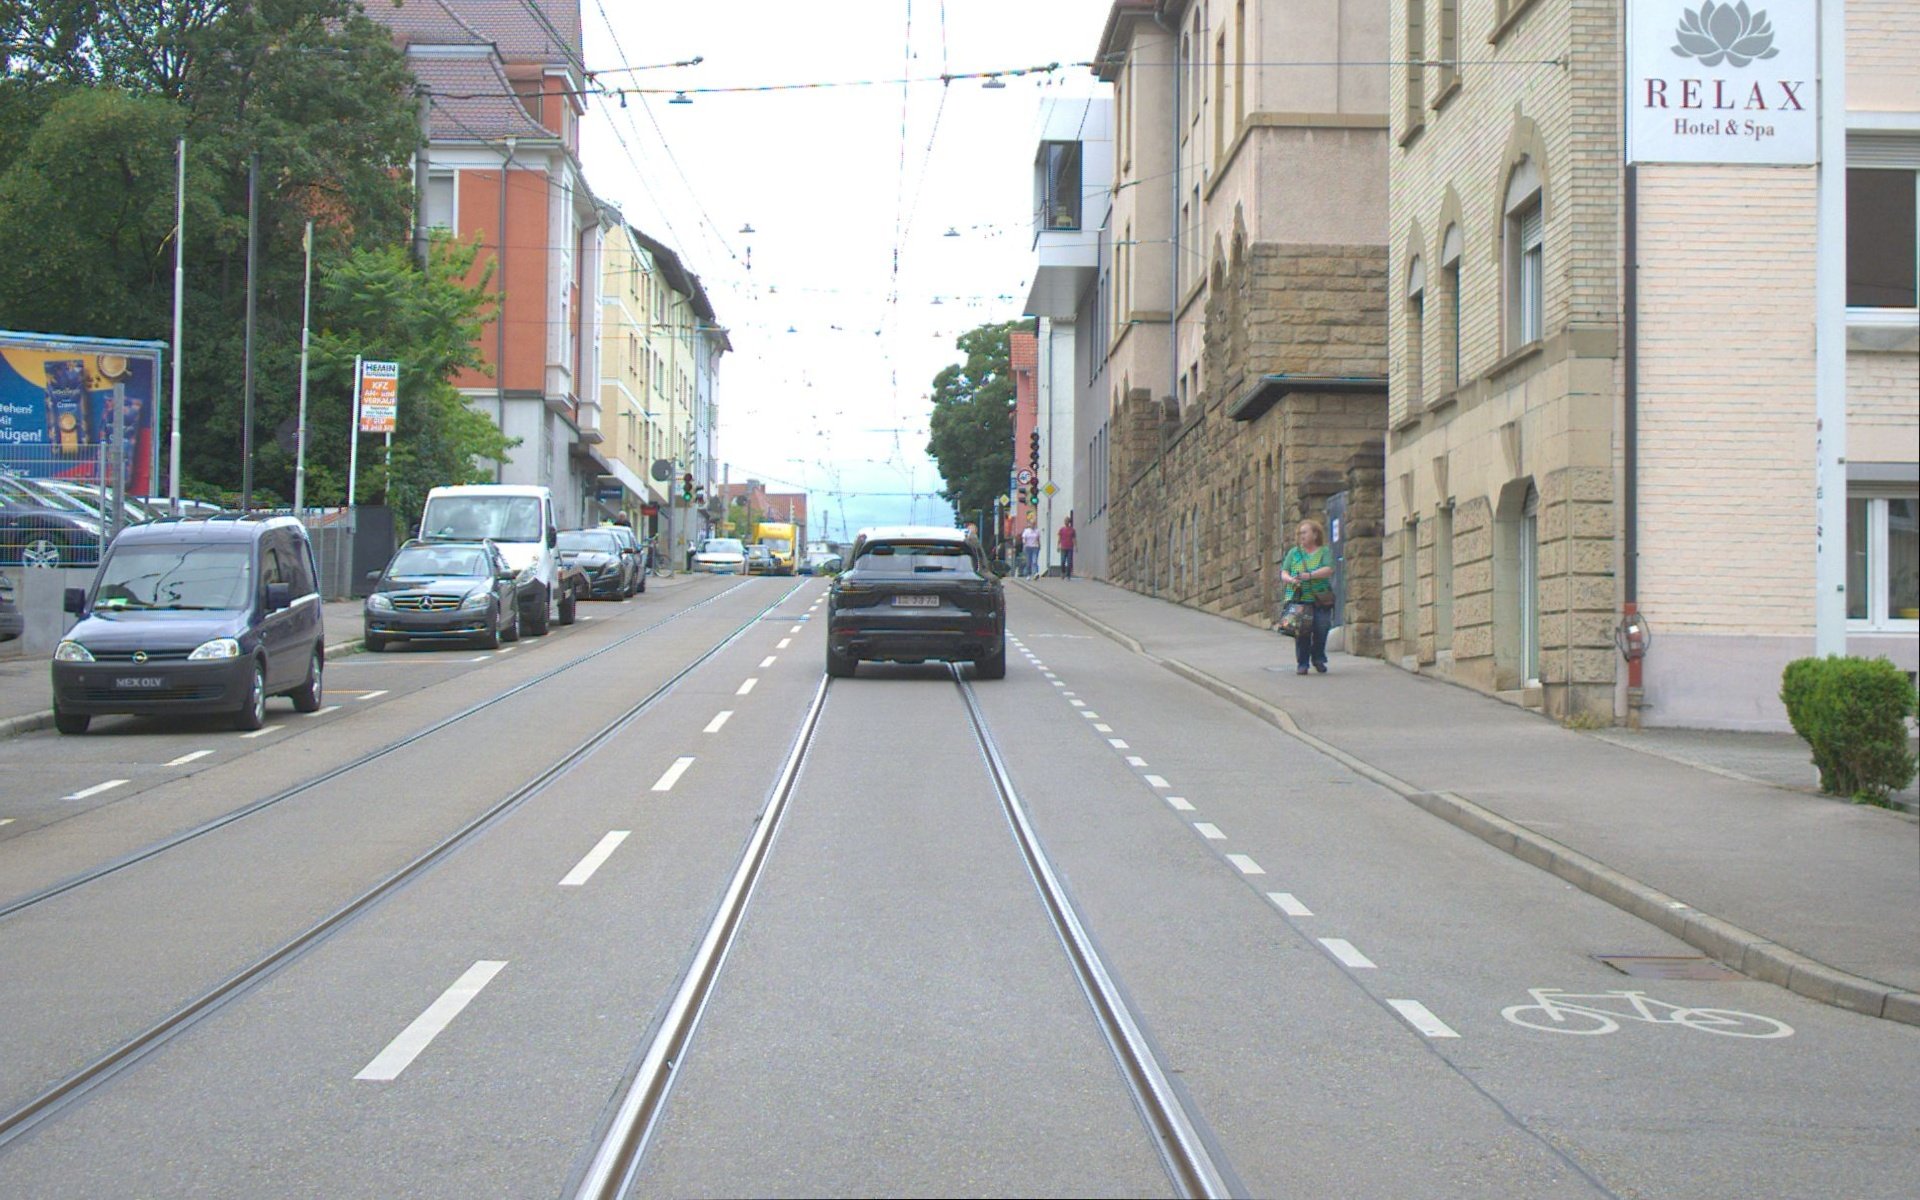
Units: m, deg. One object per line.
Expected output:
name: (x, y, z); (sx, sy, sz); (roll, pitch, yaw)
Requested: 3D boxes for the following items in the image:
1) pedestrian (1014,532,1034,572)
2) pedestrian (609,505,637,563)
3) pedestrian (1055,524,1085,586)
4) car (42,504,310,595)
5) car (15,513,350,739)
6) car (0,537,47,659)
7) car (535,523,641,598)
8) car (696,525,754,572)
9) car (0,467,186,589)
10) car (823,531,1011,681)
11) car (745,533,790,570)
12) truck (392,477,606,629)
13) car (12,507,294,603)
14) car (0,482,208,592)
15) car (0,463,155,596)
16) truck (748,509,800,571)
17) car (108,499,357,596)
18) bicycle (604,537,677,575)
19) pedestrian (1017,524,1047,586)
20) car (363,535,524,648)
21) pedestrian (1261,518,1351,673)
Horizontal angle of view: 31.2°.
pedestrian: (2.676, -2.006, 144.302); (0.791, 1.661, 0.799); (1, 1, 1)
pedestrian: (-10.412, -2.029, 106.239); (0.775, 1.770, 0.650); (1, 1, 0)
pedestrian: (3.014, -1.234, 94.058); (0.791, 1.661, 0.799); (1, 1, 1)
car: (-12.402, -0.812, 54.550); (3.876, 1.352, 1.688); (1, 1, -1)
car: (-6.463, 0.152, 29.077); (1.744, 1.730, 4.519); (-1, 1, 0)
car: (-12.896, 0.087, 39.359); (4.338, 1.341, 1.861); (-3, 1, -1)
car: (-7.479, -0.826, 69.393); (1.712, 1.441, 4.290); (1, 1, -1)
car: (-8.347, -1.861, 122.346); (1.855, 1.601, 4.297); (1, 1, -1)
car: (-12.302, -0.961, 44.752); (4.060, 1.518, 1.739); (1, 1, -1)
car: (-0.486, 0.025, 38.985); (1.993, 1.557, 4.290); (1, 1, -1)
car: (-8.661, -2.184, 154.781); (1.855, 1.601, 4.297); (1, 1, -1)
truck: (-7.145, -0.778, 54.192); (2.280, 2.180, 8.025); (1, 1, 0)
car: (-12.170, -0.691, 51.991); (3.876, 1.352, 1.688); (1, 1, -1)
car: (-12.509, -0.883, 47.102); (4.060, 1.440, 1.688); (1, 1, -1)
car: (-12.187, -0.934, 42.469); (4.060, 1.547, 1.688); (3, 1, -1)
truck: (-9.478, -3.054, 175.690); (2.302, 3.026, 9.034); (1, 1, -1)
car: (-12.149, -0.879, 57.358); (3.958, 1.546, 1.689); (1, 1, -15)
bicycle: (-8.604, -1.194, 92.671); (1.911, 0.996, 0.479); (1, 1, 0)
pedestrian: (1.973, -1.238, 94.076); (0.791, 1.661, 0.799); (1, 1, 1)
car: (-7.031, -0.153, 47.149); (1.696, 1.428, 4.482); (-1, 1, -3)
pedestrian: (3.797, -0.055, 37.781); (0.870, 1.680, 0.663); (-1, 1, -3)
